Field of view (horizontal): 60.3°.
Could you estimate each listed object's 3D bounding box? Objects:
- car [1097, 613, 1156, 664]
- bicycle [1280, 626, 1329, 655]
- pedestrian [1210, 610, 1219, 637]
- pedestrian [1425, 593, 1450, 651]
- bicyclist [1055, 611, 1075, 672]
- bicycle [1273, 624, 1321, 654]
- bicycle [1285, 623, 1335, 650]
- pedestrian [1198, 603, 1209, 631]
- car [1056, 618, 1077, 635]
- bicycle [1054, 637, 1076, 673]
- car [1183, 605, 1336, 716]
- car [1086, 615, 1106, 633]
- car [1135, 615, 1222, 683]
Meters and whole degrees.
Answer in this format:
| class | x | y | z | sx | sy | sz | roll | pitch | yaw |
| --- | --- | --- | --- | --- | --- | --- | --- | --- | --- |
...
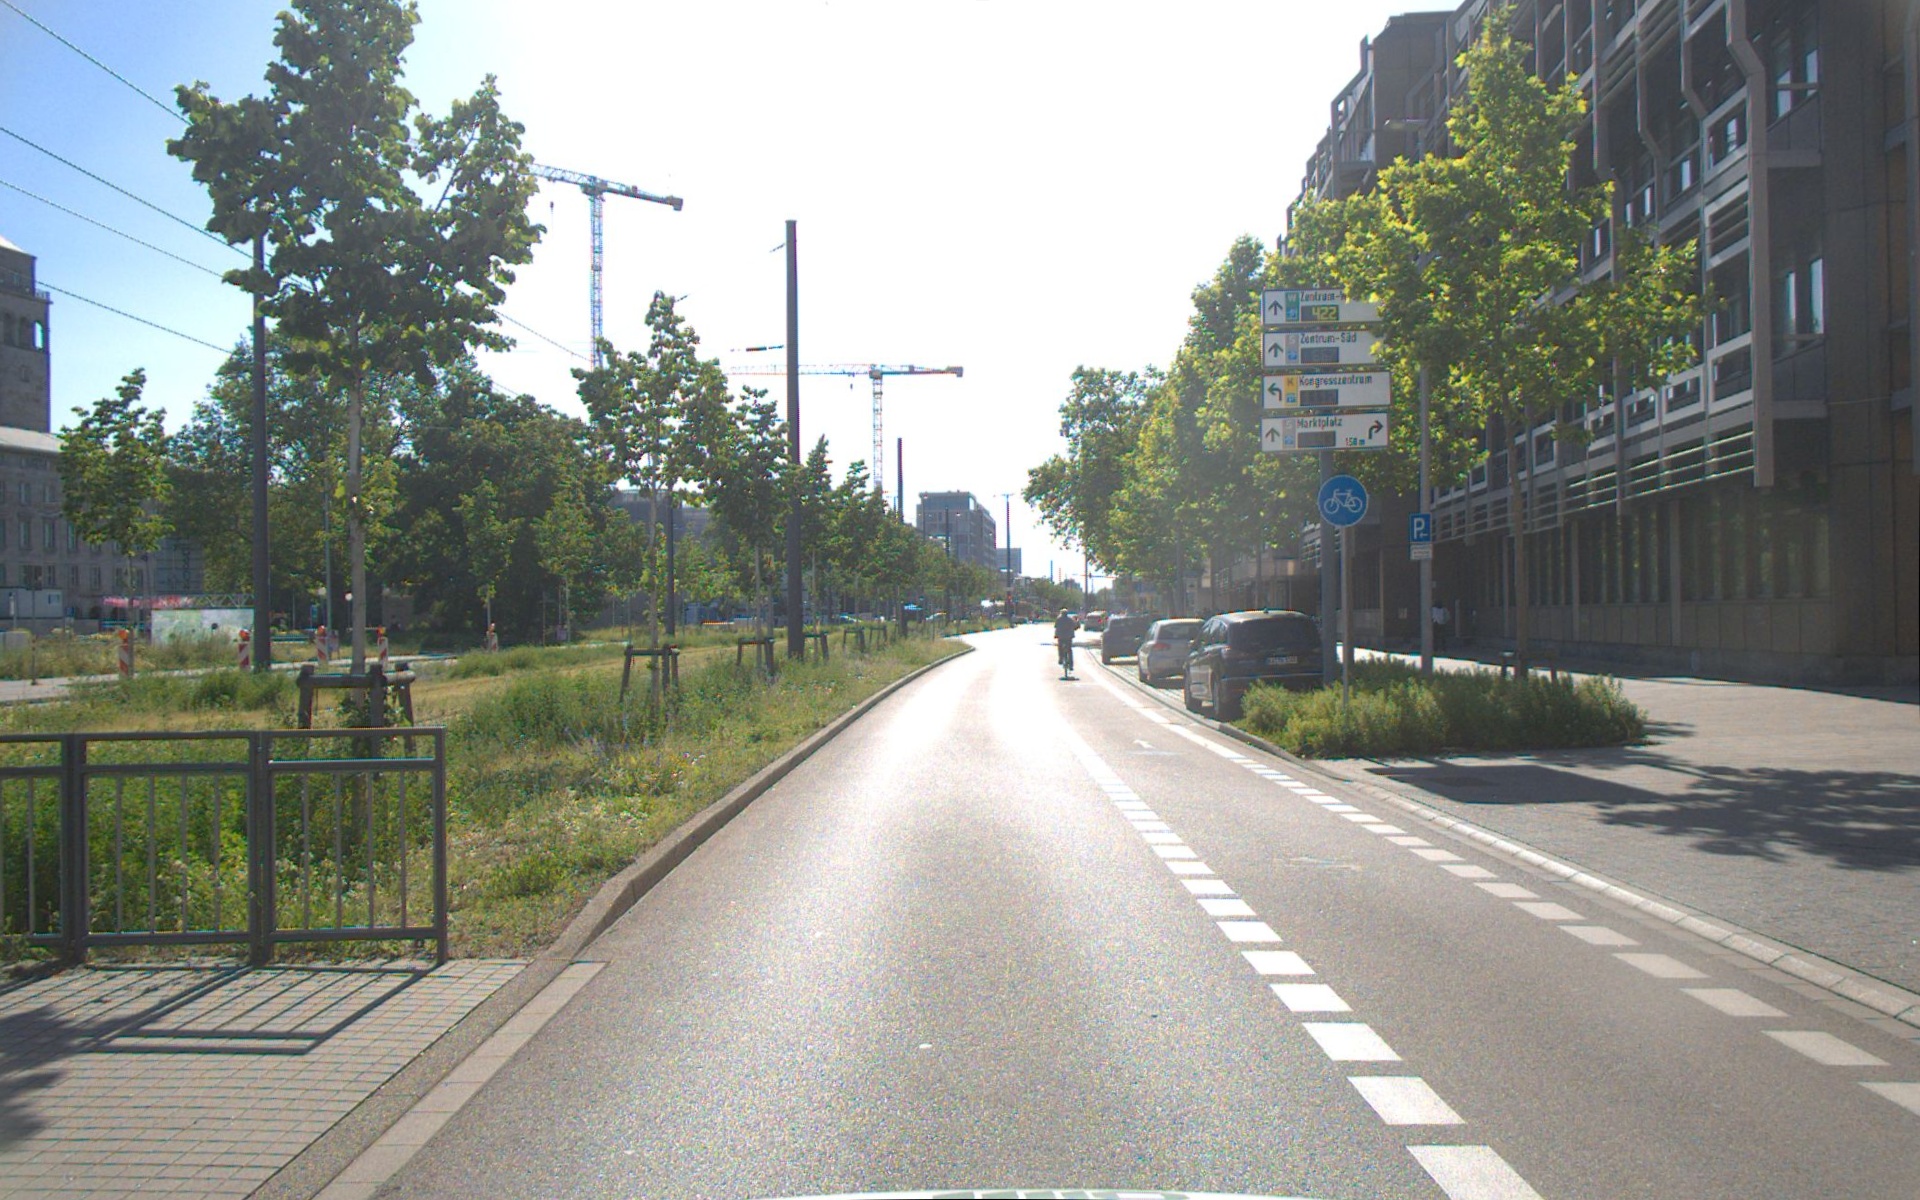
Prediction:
| class | x | y | z | sx | sy | sz | roll | pitch | yaw |
| --- | --- | --- | --- | --- | --- | --- | --- | --- | --- |
| car | 5.834 | 1.328 | 58.405 | 1.811 | 1.686 | 4.850 | -2 | -1 | 3 |
| bicycle | 13.564 | 1.585 | 65.083 | 1.818 | 1.028 | 0.427 | -3 | -1 | 7 |
| pedestrian | 16.451 | 1.510 | 106.921 | 0.500 | 1.730 | 0.774 | -3 | -1 | 5 |
| pedestrian | 14.029 | 0.638 | 48.606 | 0.500 | 1.651 | 0.674 | -3 | -1 | 5 |
| bicyclist | 2.822 | 1.116 | 44.538 | 0.502 | 1.629 | 0.536 | -1 | -1 | 1 |
| bicycle | 13.604 | 1.575 | 66.872 | 1.818 | 1.117 | 0.427 | -3 | -1 | 7 |
| bicycle | 13.564 | 1.408 | 64.107 | 1.818 | 0.955 | 0.427 | -3 | -1 | 7 |
| pedestrian | 13.046 | 0.913 | 88.594 | 0.500 | 1.500 | 0.736 | -2 | -1 | 5 |
| car | 10.244 | 2.524 | 158.663 | 1.871 | 1.513 | 4.012 | 0 | 0 | 5 |
| bicycle | 2.815 | 1.473 | 44.542 | 0.487 | 0.922 | 2.197 | 1 | -1 | 1 |
| car | 4.937 | 0.963 | 27.827 | 1.712 | 1.688 | 4.469 | -1 | -1 | 0 |
| car | 12.739 | 2.215 | 154.590 | 1.685 | 1.646 | 4.189 | -1 | 0 | 7 |
| car | 5.217 | 1.139 | 39.974 | 1.585 | 1.490 | 4.155 | -2 | -1 | 1 |
